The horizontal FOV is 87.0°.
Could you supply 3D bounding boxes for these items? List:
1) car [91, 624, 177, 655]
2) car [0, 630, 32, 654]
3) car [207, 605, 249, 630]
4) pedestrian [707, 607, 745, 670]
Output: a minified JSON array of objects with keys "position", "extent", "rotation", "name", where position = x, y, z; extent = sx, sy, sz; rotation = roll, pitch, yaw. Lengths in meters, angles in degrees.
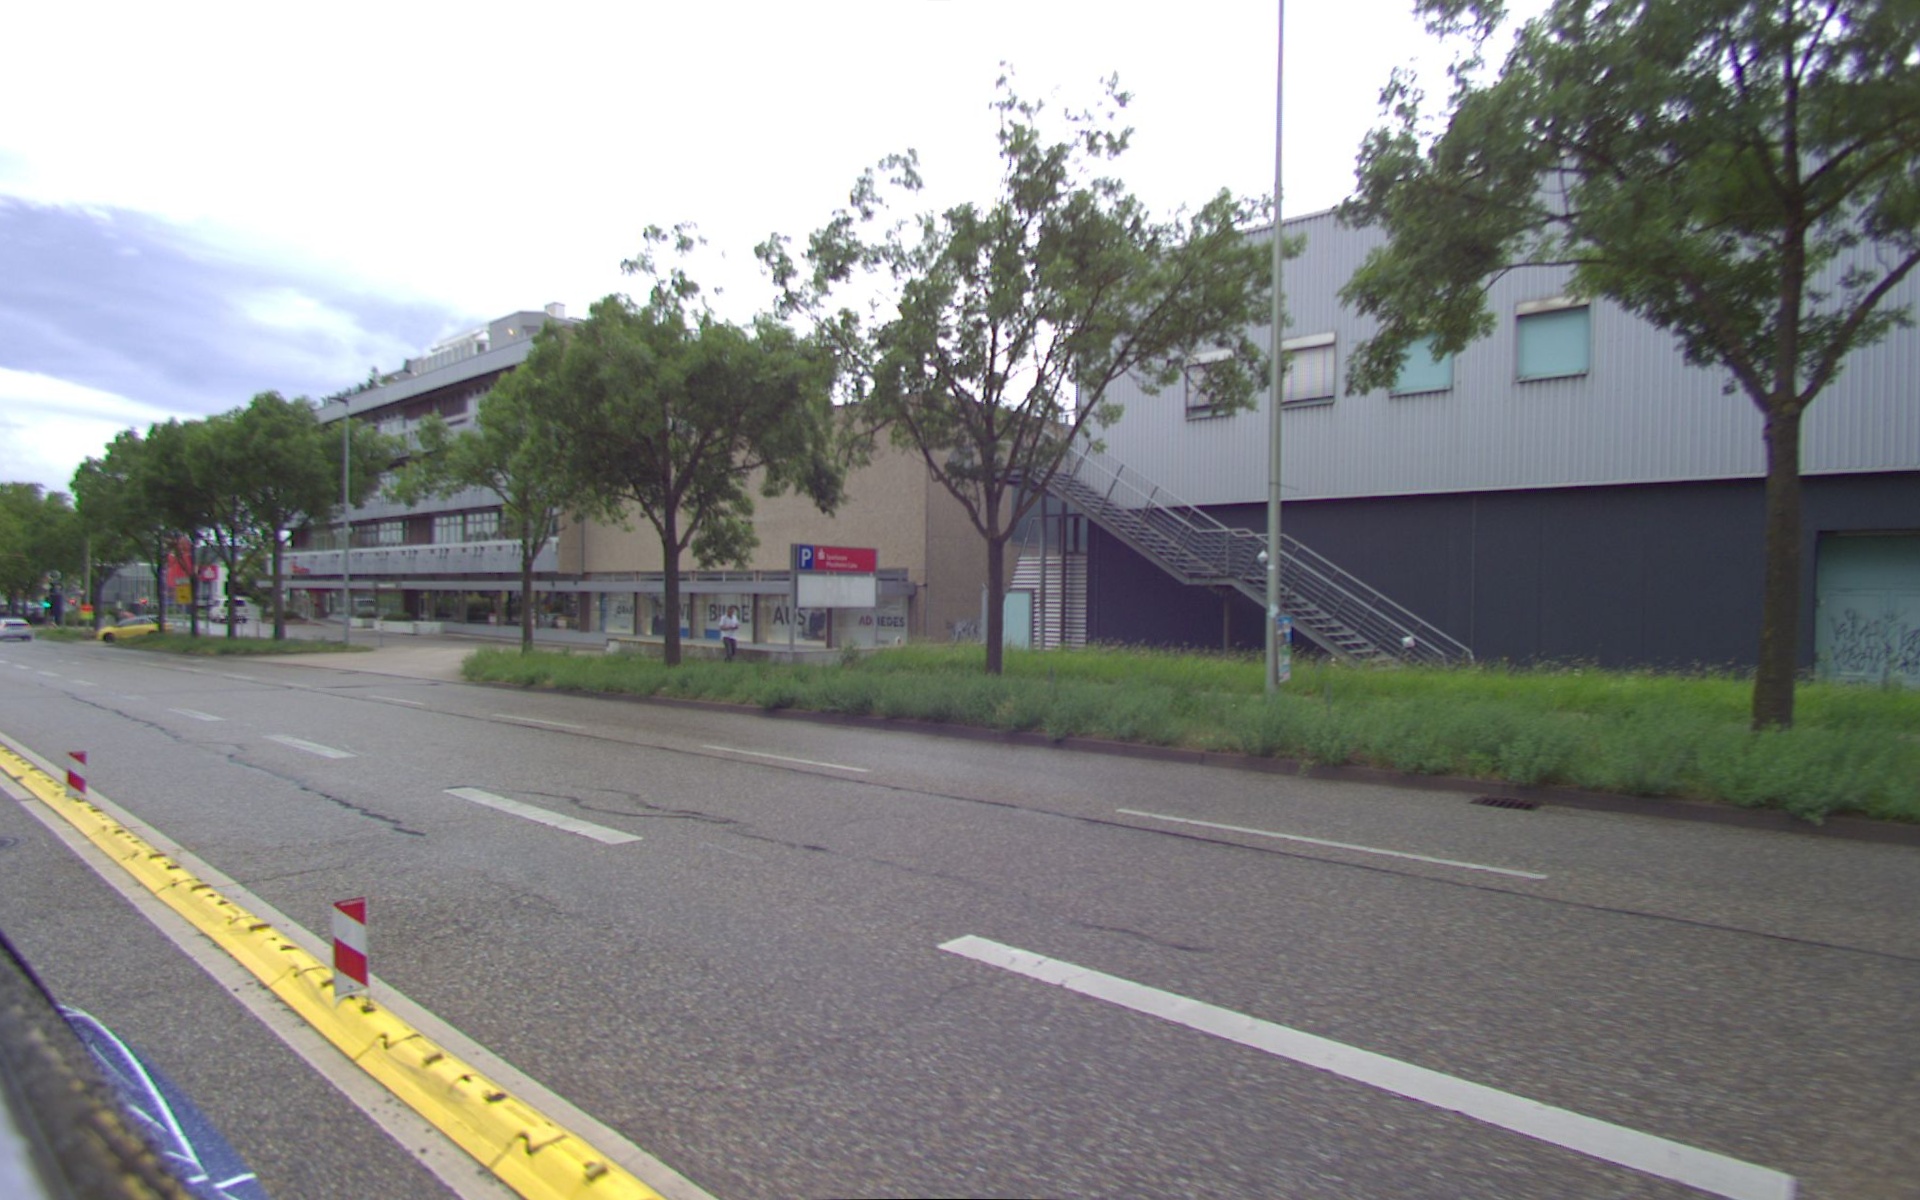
[{"position":[-50.255,2.378,61.614],"extent":[3.649,1.520,1.627],"rotation":[-3,3,-16],"name":"car"},{"position":[-62.873,2.753,66.902],"extent":[4.466,1.416,1.723],"rotation":[0,-2,41],"name":"car"},{"position":[-59.784,1.413,82.628],"extent":[4.888,2.029,1.971],"rotation":[0,-1,45],"name":"car"},{"position":[-6.072,0.982,26.267],"extent":[0.767,1.595,0.578],"rotation":[-1,1,42],"name":"pedestrian"}]
